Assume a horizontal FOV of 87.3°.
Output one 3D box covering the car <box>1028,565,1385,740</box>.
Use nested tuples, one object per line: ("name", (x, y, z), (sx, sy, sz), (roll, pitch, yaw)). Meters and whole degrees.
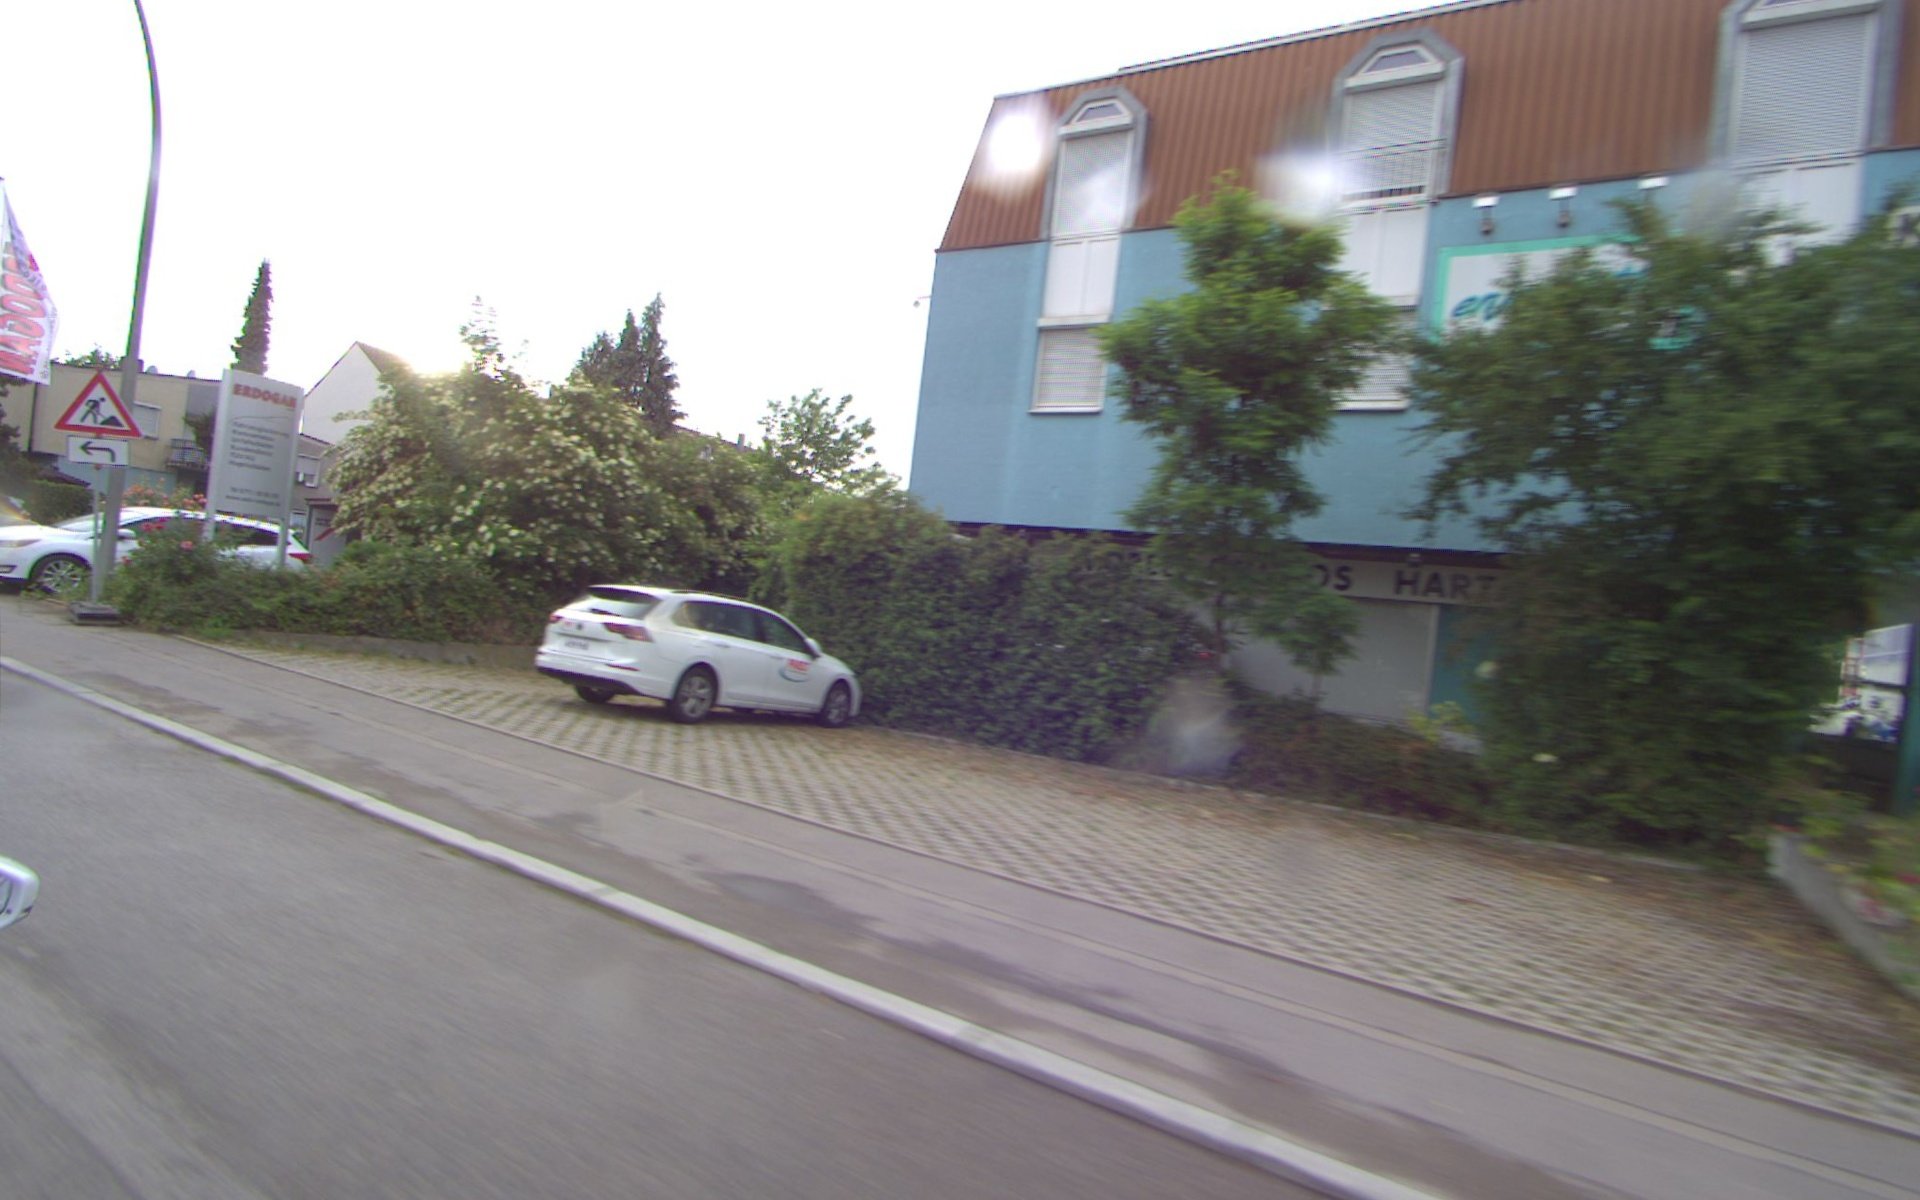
("car", (3.440, 0.700, 14.136), (4.353, 1.760, 1.999), (7, -2, 29))

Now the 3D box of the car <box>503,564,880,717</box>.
("car", (-3.070, 0.617, 12.541), (1.848, 1.408, 4.426), (7, -2, 30))

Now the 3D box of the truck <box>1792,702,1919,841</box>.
("truck", (30.895, 5.674, 34.044), (2.930, 3.951, 5.777), (7, 0, 31))

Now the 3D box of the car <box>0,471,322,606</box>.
("car", (-12.979, -0.926, 15.961), (1.871, 1.492, 4.347), (7, -2, 30))

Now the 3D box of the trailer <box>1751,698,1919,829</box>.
("trailer", (33.881, 6.076, 39.242), (3.021, 3.968, 9.348), (7, -1, 30))

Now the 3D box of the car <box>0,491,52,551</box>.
("car", (-23.795, -2.106, 23.053), (1.919, 1.280, 3.994), (7, -2, 33))

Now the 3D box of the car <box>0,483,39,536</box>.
("car", (-32.023, -3.146, 31.946), (1.828, 1.556, 3.623), (7, -2, 29))
